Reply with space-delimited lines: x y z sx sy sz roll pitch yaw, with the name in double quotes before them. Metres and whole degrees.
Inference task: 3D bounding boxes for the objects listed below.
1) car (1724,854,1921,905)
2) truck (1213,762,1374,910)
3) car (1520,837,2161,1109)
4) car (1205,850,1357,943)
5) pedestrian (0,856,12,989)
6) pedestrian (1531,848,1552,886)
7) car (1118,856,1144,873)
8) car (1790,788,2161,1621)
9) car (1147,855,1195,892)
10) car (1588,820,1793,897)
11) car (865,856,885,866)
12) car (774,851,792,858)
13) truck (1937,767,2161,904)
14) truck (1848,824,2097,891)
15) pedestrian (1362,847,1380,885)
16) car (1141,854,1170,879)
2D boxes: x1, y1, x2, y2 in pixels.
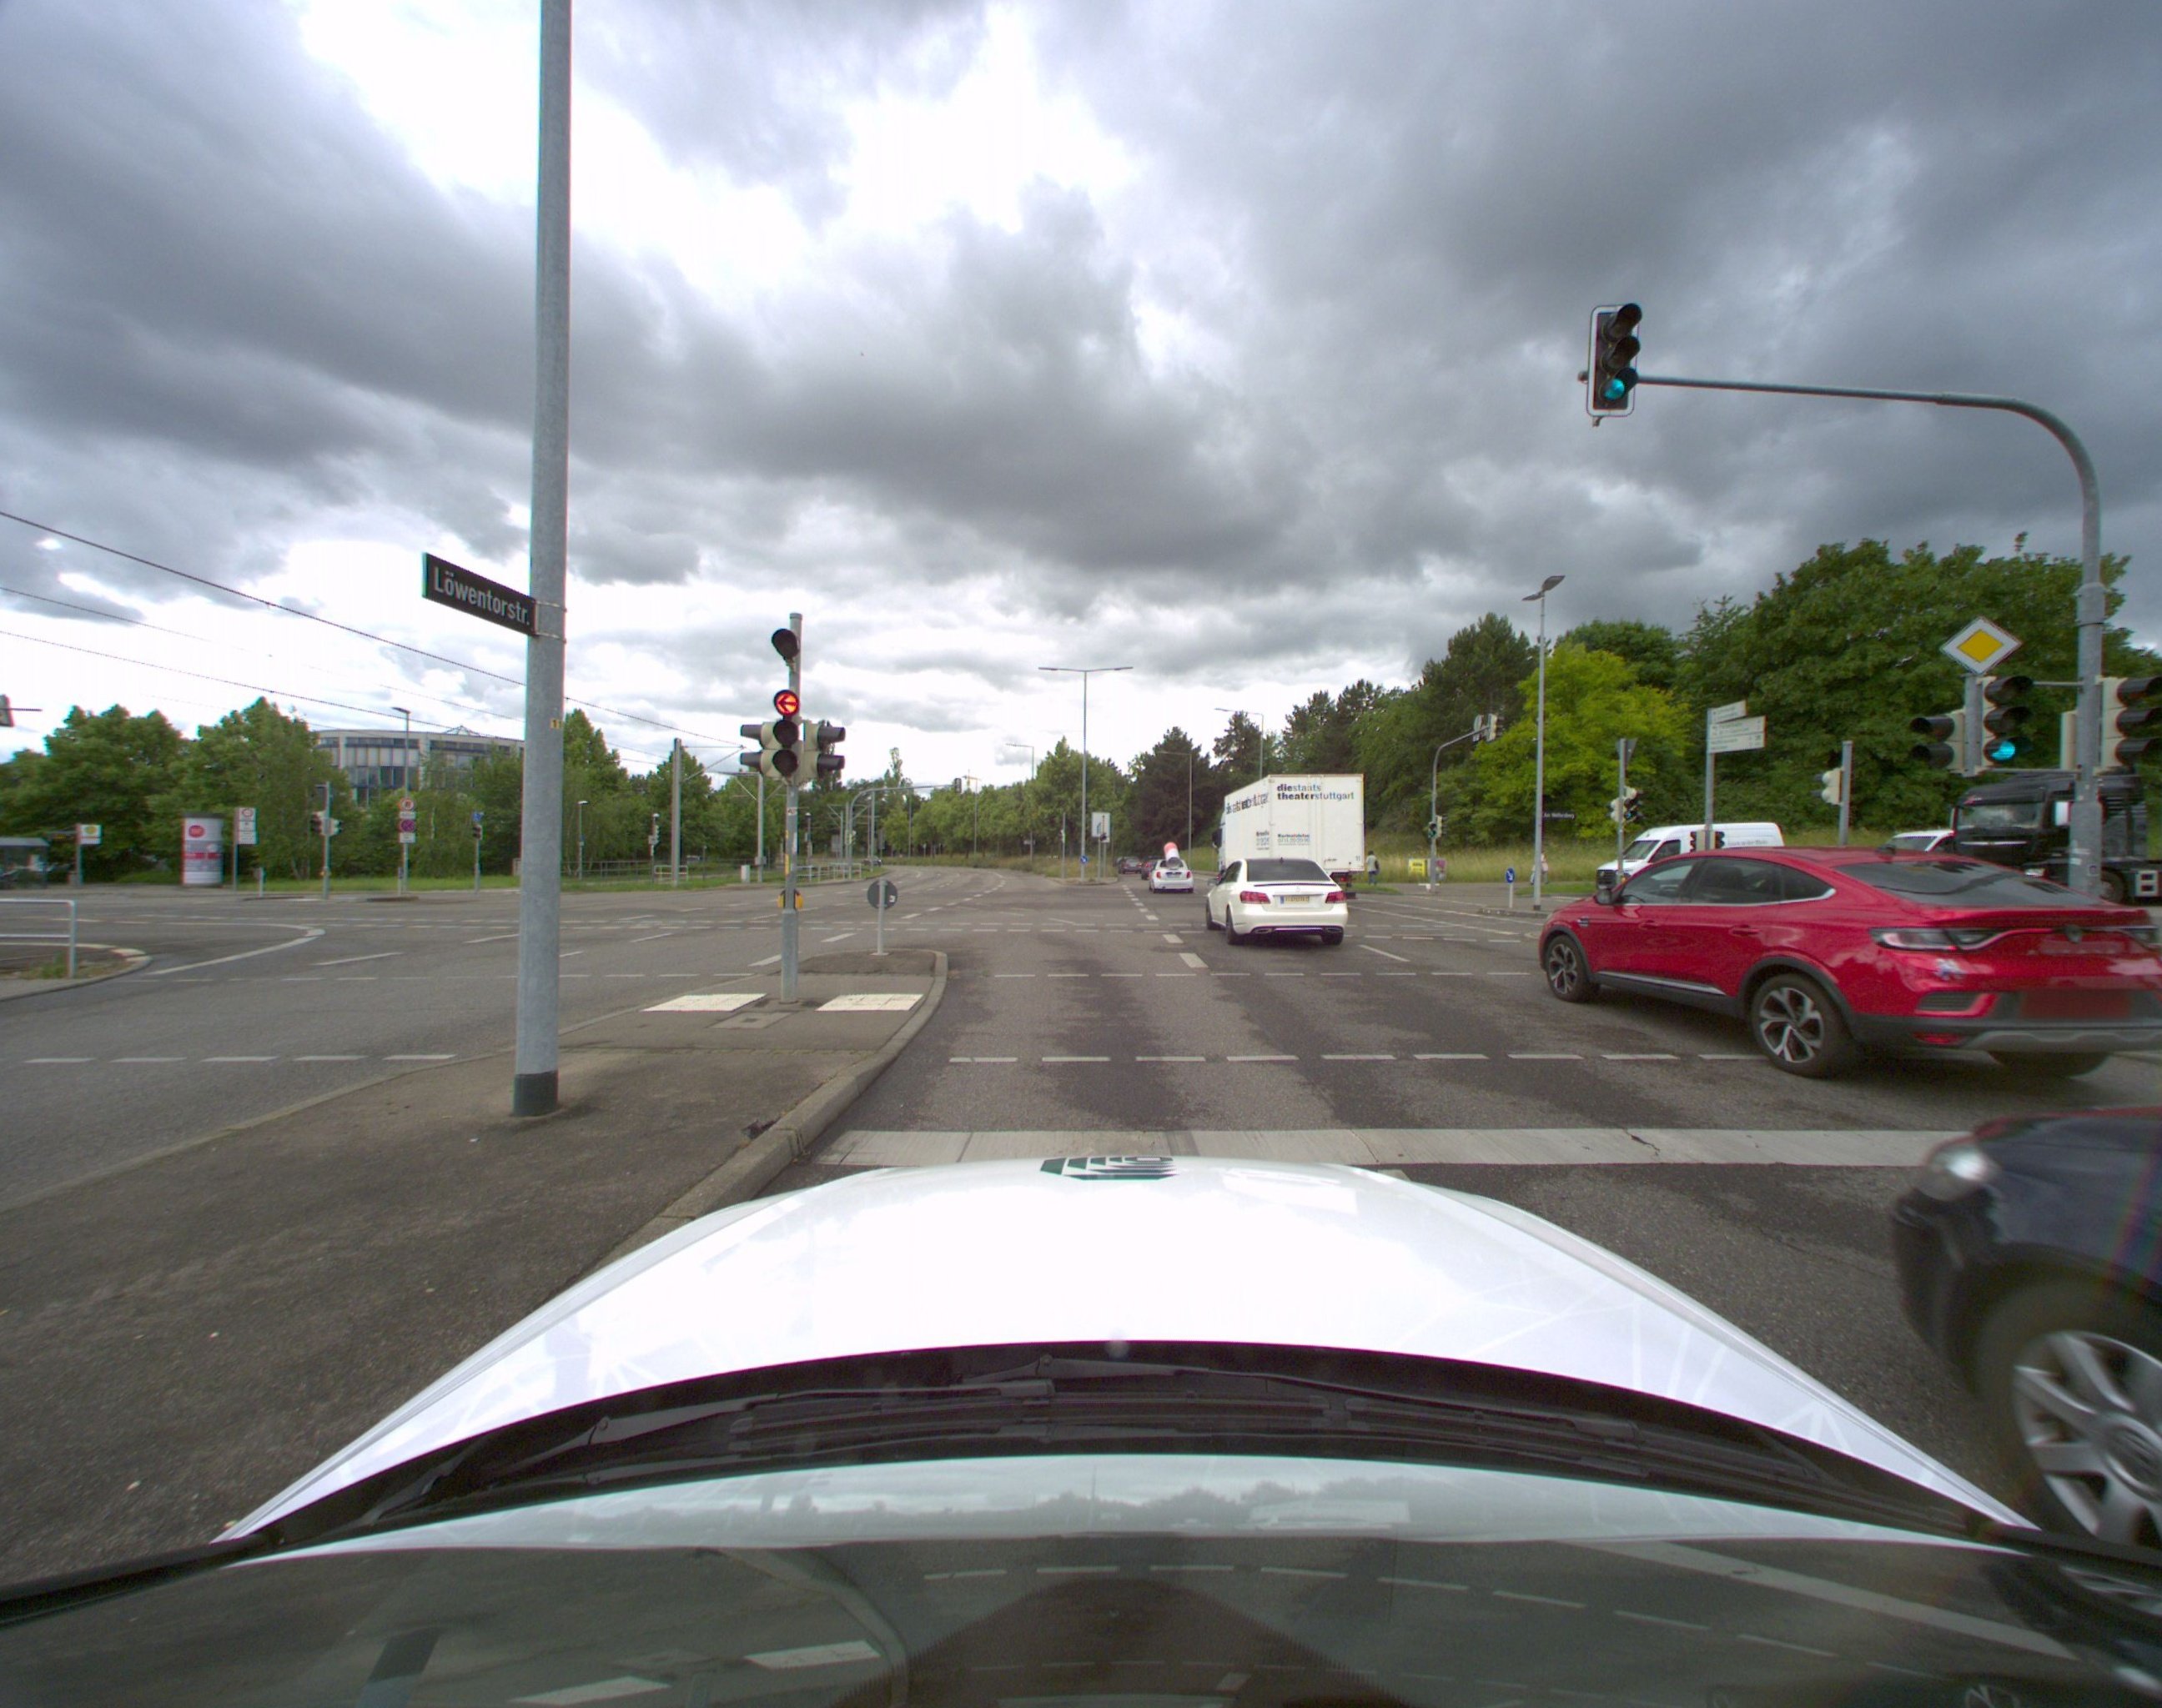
"car" 20.512 0.696 22.658 3.859 1.338 1.698 0 -1 4
"truck" 6.468 -0.504 26.703 2.793 3.903 10.184 0 0 1
"car" 5.709 0.660 6.790 1.840 1.530 4.378 0 0 2
"car" 3.376 0.663 14.576 1.793 1.412 4.319 0 -1 2
"pedestrian" -12.787 0.795 9.130 0.632 1.536 0.719 0 -1 -2
"pedestrian" 19.771 0.551 34.986 0.639 1.612 0.717 -1 -1 19
"car" 4.443 0.904 72.937 1.744 1.508 4.039 0 0 -6
"car" 2.869 0.656 0.379 1.658 1.598 3.997 0 -1 1
"car" 3.865 0.830 35.463 1.814 1.506 3.496 0 -1 2
"car" 21.840 0.163 29.391 5.780 2.630 2.002 0 -1 3
"car" -31.843 1.071 125.955 1.808 1.587 3.958 0 -1 -34
"car" -64.534 0.135 176.475 3.837 1.603 1.801 -1 -1 35
"truck" 27.983 -0.489 22.293 5.971 3.486 2.694 -1 -1 4
"truck" 31.116 0.128 28.620 5.992 2.230 2.165 0 -1 5
"pedestrian" 13.028 0.532 36.582 0.640 1.662 0.715 -1 -1 8
"car" 4.756 0.782 52.264 1.618 1.493 3.838 0 0 1
